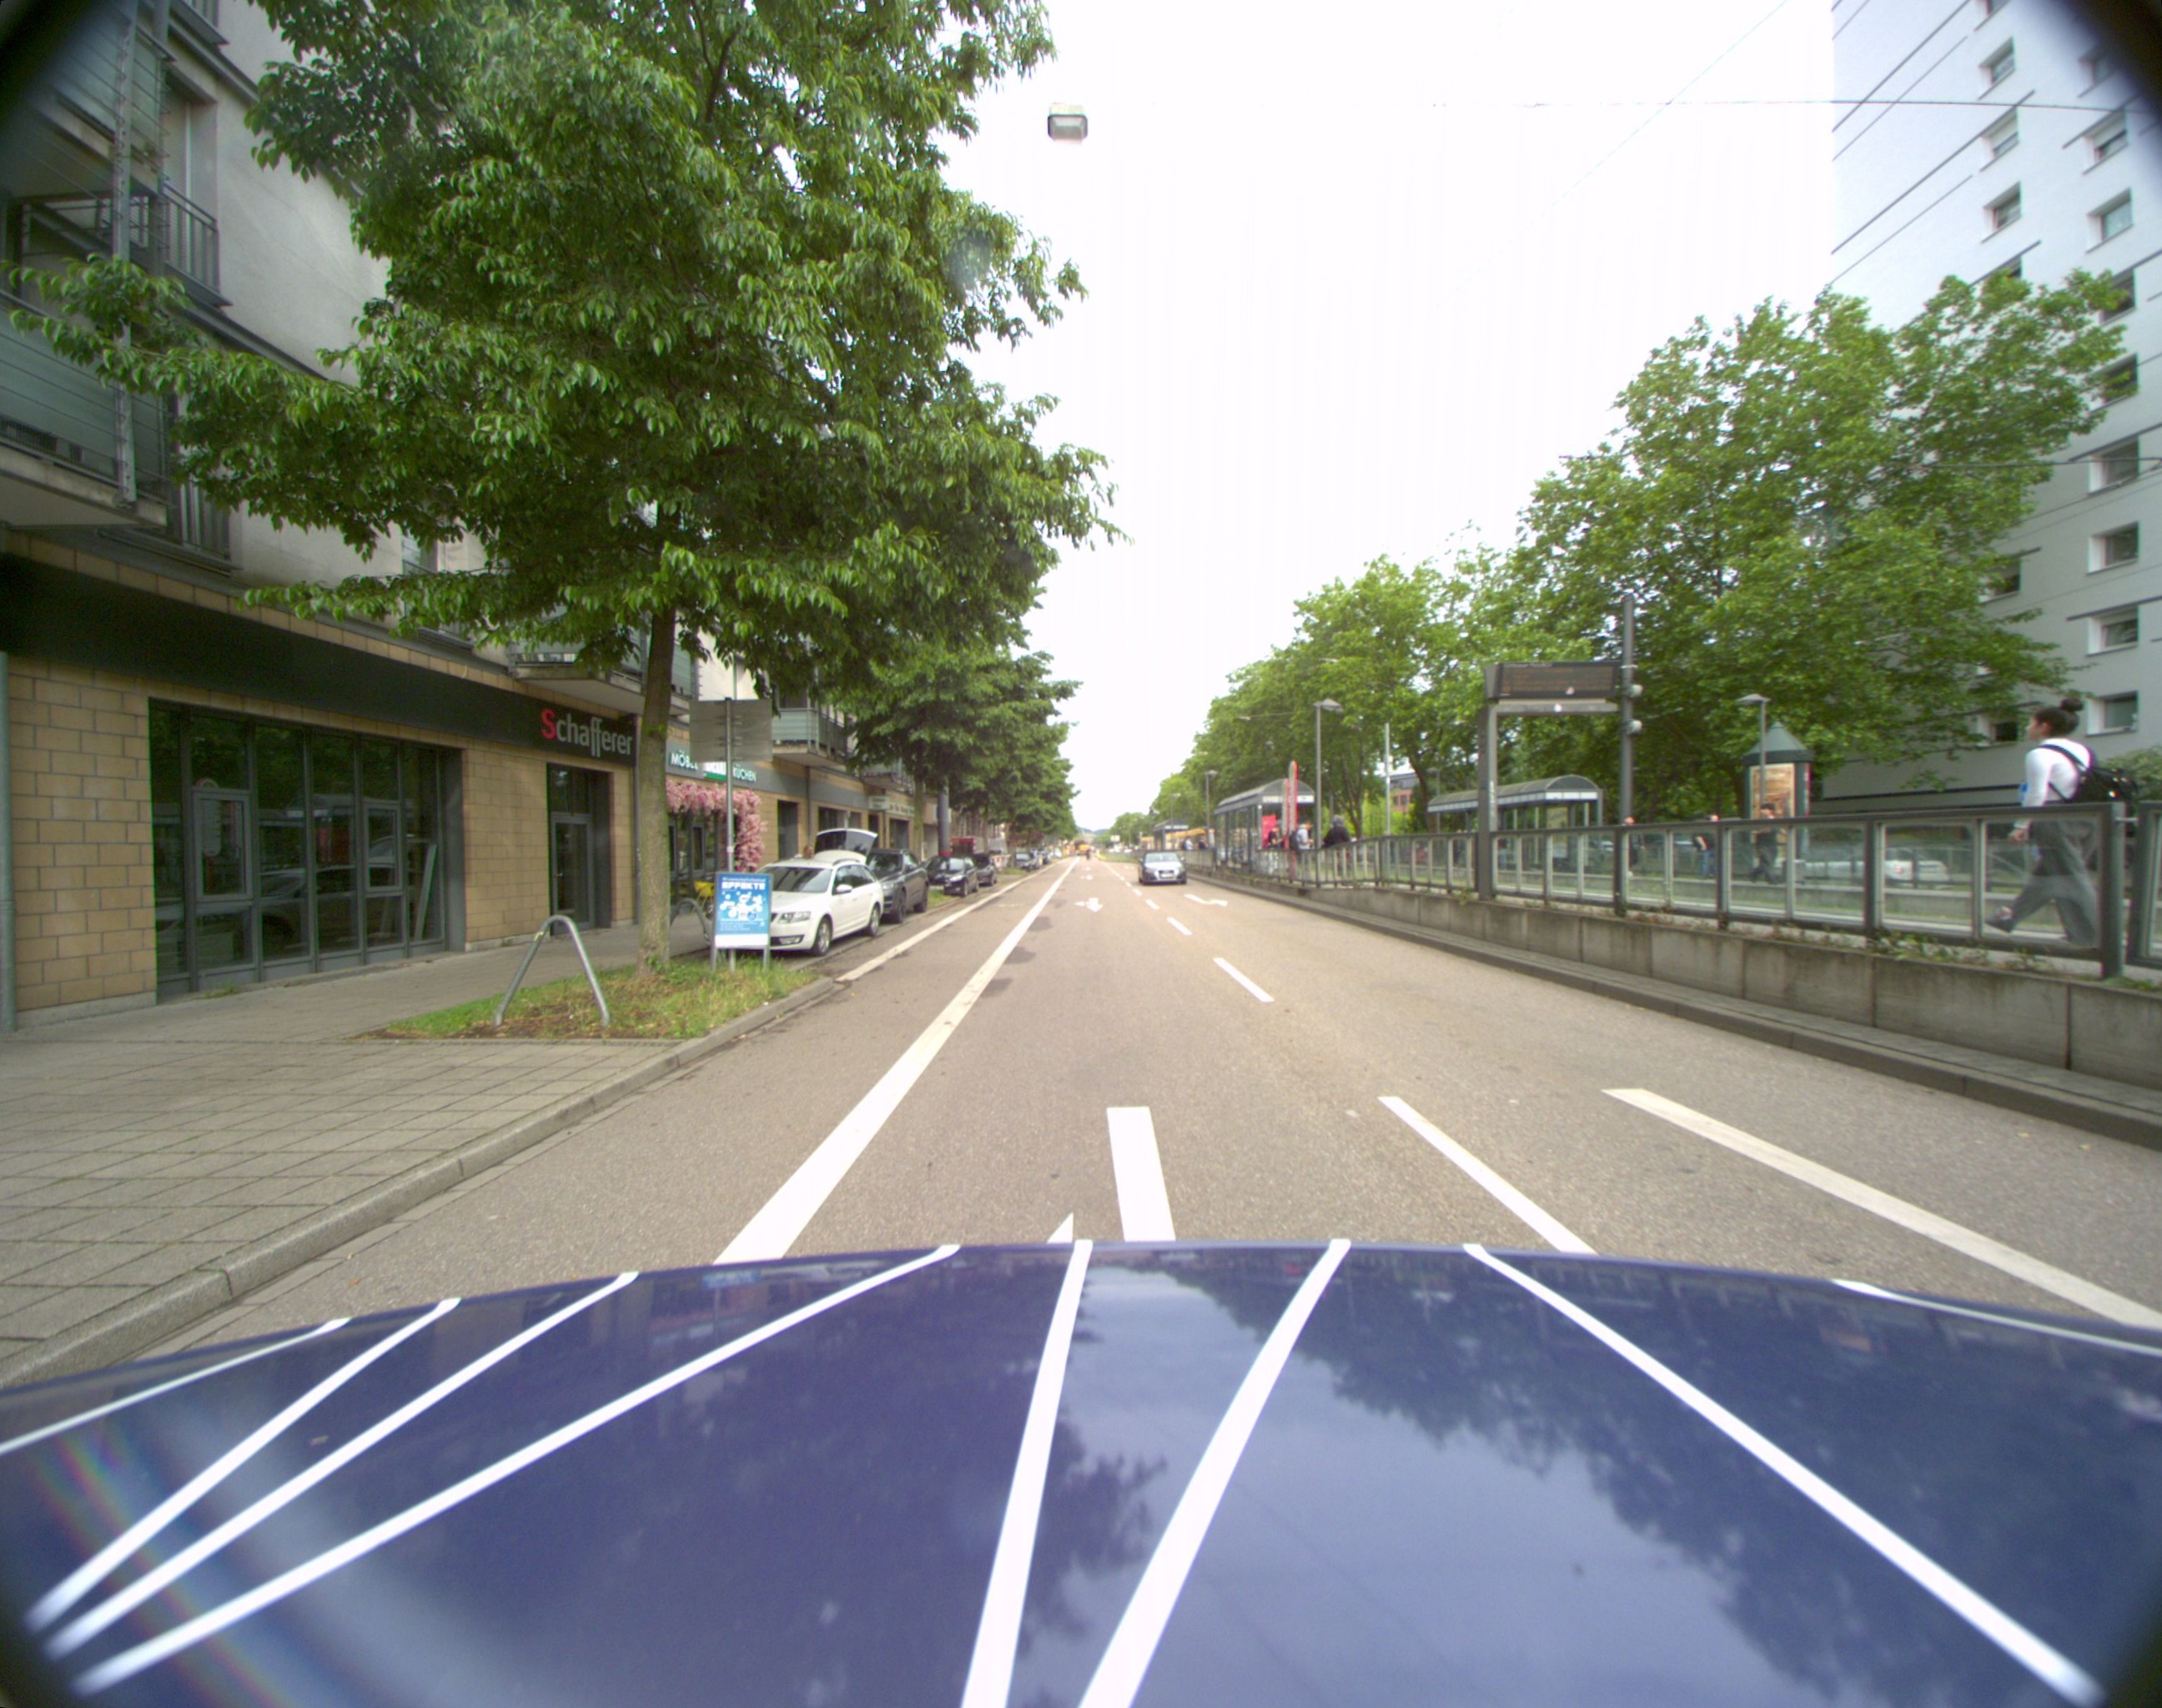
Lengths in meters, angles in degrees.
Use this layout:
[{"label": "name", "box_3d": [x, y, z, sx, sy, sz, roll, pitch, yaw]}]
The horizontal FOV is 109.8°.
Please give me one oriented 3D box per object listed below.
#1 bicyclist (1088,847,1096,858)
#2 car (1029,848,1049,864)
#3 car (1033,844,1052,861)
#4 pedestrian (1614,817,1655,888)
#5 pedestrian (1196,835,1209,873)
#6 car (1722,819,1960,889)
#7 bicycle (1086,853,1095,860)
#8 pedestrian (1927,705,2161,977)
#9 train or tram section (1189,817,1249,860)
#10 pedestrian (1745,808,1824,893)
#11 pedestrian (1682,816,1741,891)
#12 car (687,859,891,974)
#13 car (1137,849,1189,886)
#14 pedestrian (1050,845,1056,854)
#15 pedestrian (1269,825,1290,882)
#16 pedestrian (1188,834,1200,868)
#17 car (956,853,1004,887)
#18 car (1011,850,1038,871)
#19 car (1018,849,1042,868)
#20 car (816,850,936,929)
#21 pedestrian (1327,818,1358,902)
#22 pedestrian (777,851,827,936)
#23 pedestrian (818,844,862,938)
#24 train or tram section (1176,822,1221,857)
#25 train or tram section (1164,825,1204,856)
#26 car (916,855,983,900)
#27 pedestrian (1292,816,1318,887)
[{"label": "bicyclist", "box_3d": [1.460, -0.219, 102.804, 0.727, 1.458, 0.811, -2, 1, -23]}, {"label": "car", "box_3d": [-3.965, 0.206, 72.456, 1.612, 1.393, 3.667, 2, 1, 1]}, {"label": "car", "box_3d": [-3.959, -0.144, 78.226, 1.612, 1.674, 3.806, 2, 1, 1]}, {"label": "pedestrian", "box_3d": [15.351, -0.041, 21.096, 0.699, 1.919, 0.554, -2, 1, 1]}, {"label": "pedestrian", "box_3d": [5.851, 0.000, 36.528, 0.530, 1.794, 0.606, -2, 1, 14]}, {"label": "car", "box_3d": [19.218, -0.018, 19.513, 1.934, 1.543, 3.997, -2, 1, -5]}, {"label": "bicycle", "box_3d": [1.310, 0.275, 103.152, 0.492, 0.925, 1.779, -3, 1, -23]}, {"label": "pedestrian", "box_3d": [6.645, -0.086, 5.151, 0.720, 1.661, 0.979, -2, 1, 3]}, {"label": "train or tram section", "box_3d": [13.471, -1.473, 75.973, 3.338, 3.731, 15.201, -2, 1, 1]}, {"label": "pedestrian", "box_3d": [15.145, -0.079, 16.386, 0.882, 1.746, 0.850, -2, 1, 1]}, {"label": "pedestrian", "box_3d": [15.713, -0.017, 18.938, 0.882, 1.823, 0.666, -2, 1, 1]}, {"label": "car", "box_3d": [-4.716, 0.902, 13.006, 1.738, 1.512, 4.308, 2, 1, 1]}, {"label": "car", "box_3d": [3.379, 0.507, 31.916, 1.716, 1.379, 4.099, -2, 1, 1]}, {"label": "pedestrian", "box_3d": [-6.340, -1.054, 172.191, 1.216, 2.002, 1.142, -1, 1, 1]}, {"label": "pedestrian", "box_3d": [6.316, -0.027, 24.204, 0.474, 1.794, 0.606, -2, 1, 26]}, {"label": "pedestrian", "box_3d": [6.144, -0.178, 41.345, 0.530, 1.794, 0.606, -2, 1, 14]}, {"label": "car", "box_3d": [-4.553, 0.684, 34.742, 1.612, 1.393, 3.667, 2, 1, 1]}, {"label": "car", "box_3d": [-4.160, 0.478, 56.250, 1.612, 1.393, 3.667, 2, 1, 1]}, {"label": "car", "box_3d": [-4.120, 0.362, 62.170, 1.612, 1.393, 3.667, 2, 1, 1]}, {"label": "car", "box_3d": [-4.713, 0.742, 18.009, 1.738, 1.601, 3.798, 2, 1, 1]}, {"label": "pedestrian", "box_3d": [5.709, 0.121, 16.585, 0.521, 1.794, 0.605, -2, 1, 13]}, {"label": "pedestrian", "box_3d": [-5.712, 0.791, 15.584, 0.737, 1.707, 0.618, 0, 1, 8]}, {"label": "pedestrian", "box_3d": [-4.902, 0.738, 15.514, 0.656, 1.873, 0.599, -1, 1, 1]}, {"label": "train or tram section", "box_3d": [13.691, -1.637, 89.757, 3.338, 3.731, 12.547, -2, 1, 1]}, {"label": "train or tram section", "box_3d": [13.870, -1.807, 104.186, 3.338, 3.731, 16.247, -2, 1, 1]}, {"label": "car", "box_3d": [-4.634, 0.794, 27.281, 1.612, 1.370, 4.167, 2, 1, 1]}, {"label": "pedestrian", "box_3d": [5.751, -0.062, 19.487, 0.475, 1.794, 0.605, -2, 1, 5]}]
